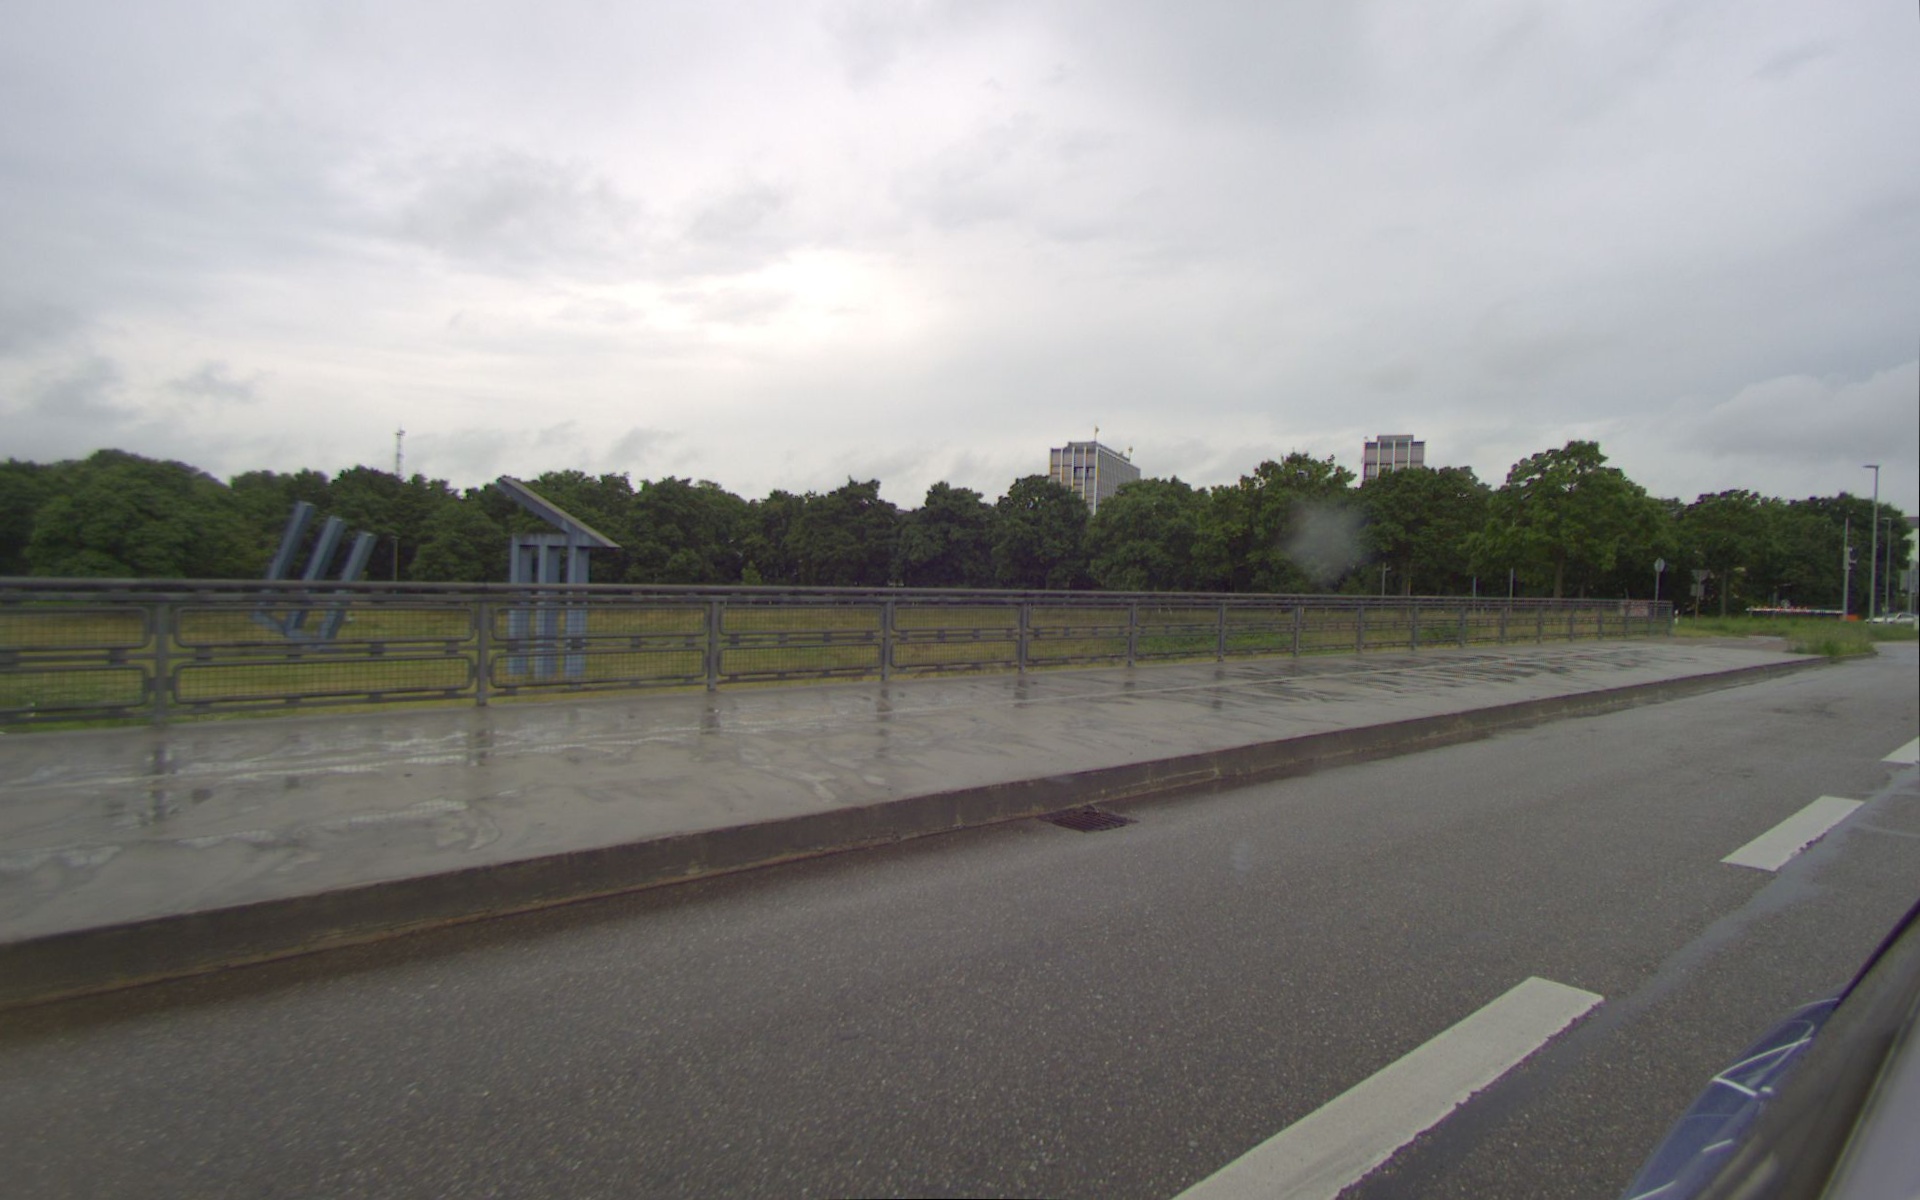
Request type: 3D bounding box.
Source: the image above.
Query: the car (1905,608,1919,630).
[{"bbox_3d":[77.792,1.547,81.787,3.932,1.772,1.839,0,1,-43],"label":"car"}]
